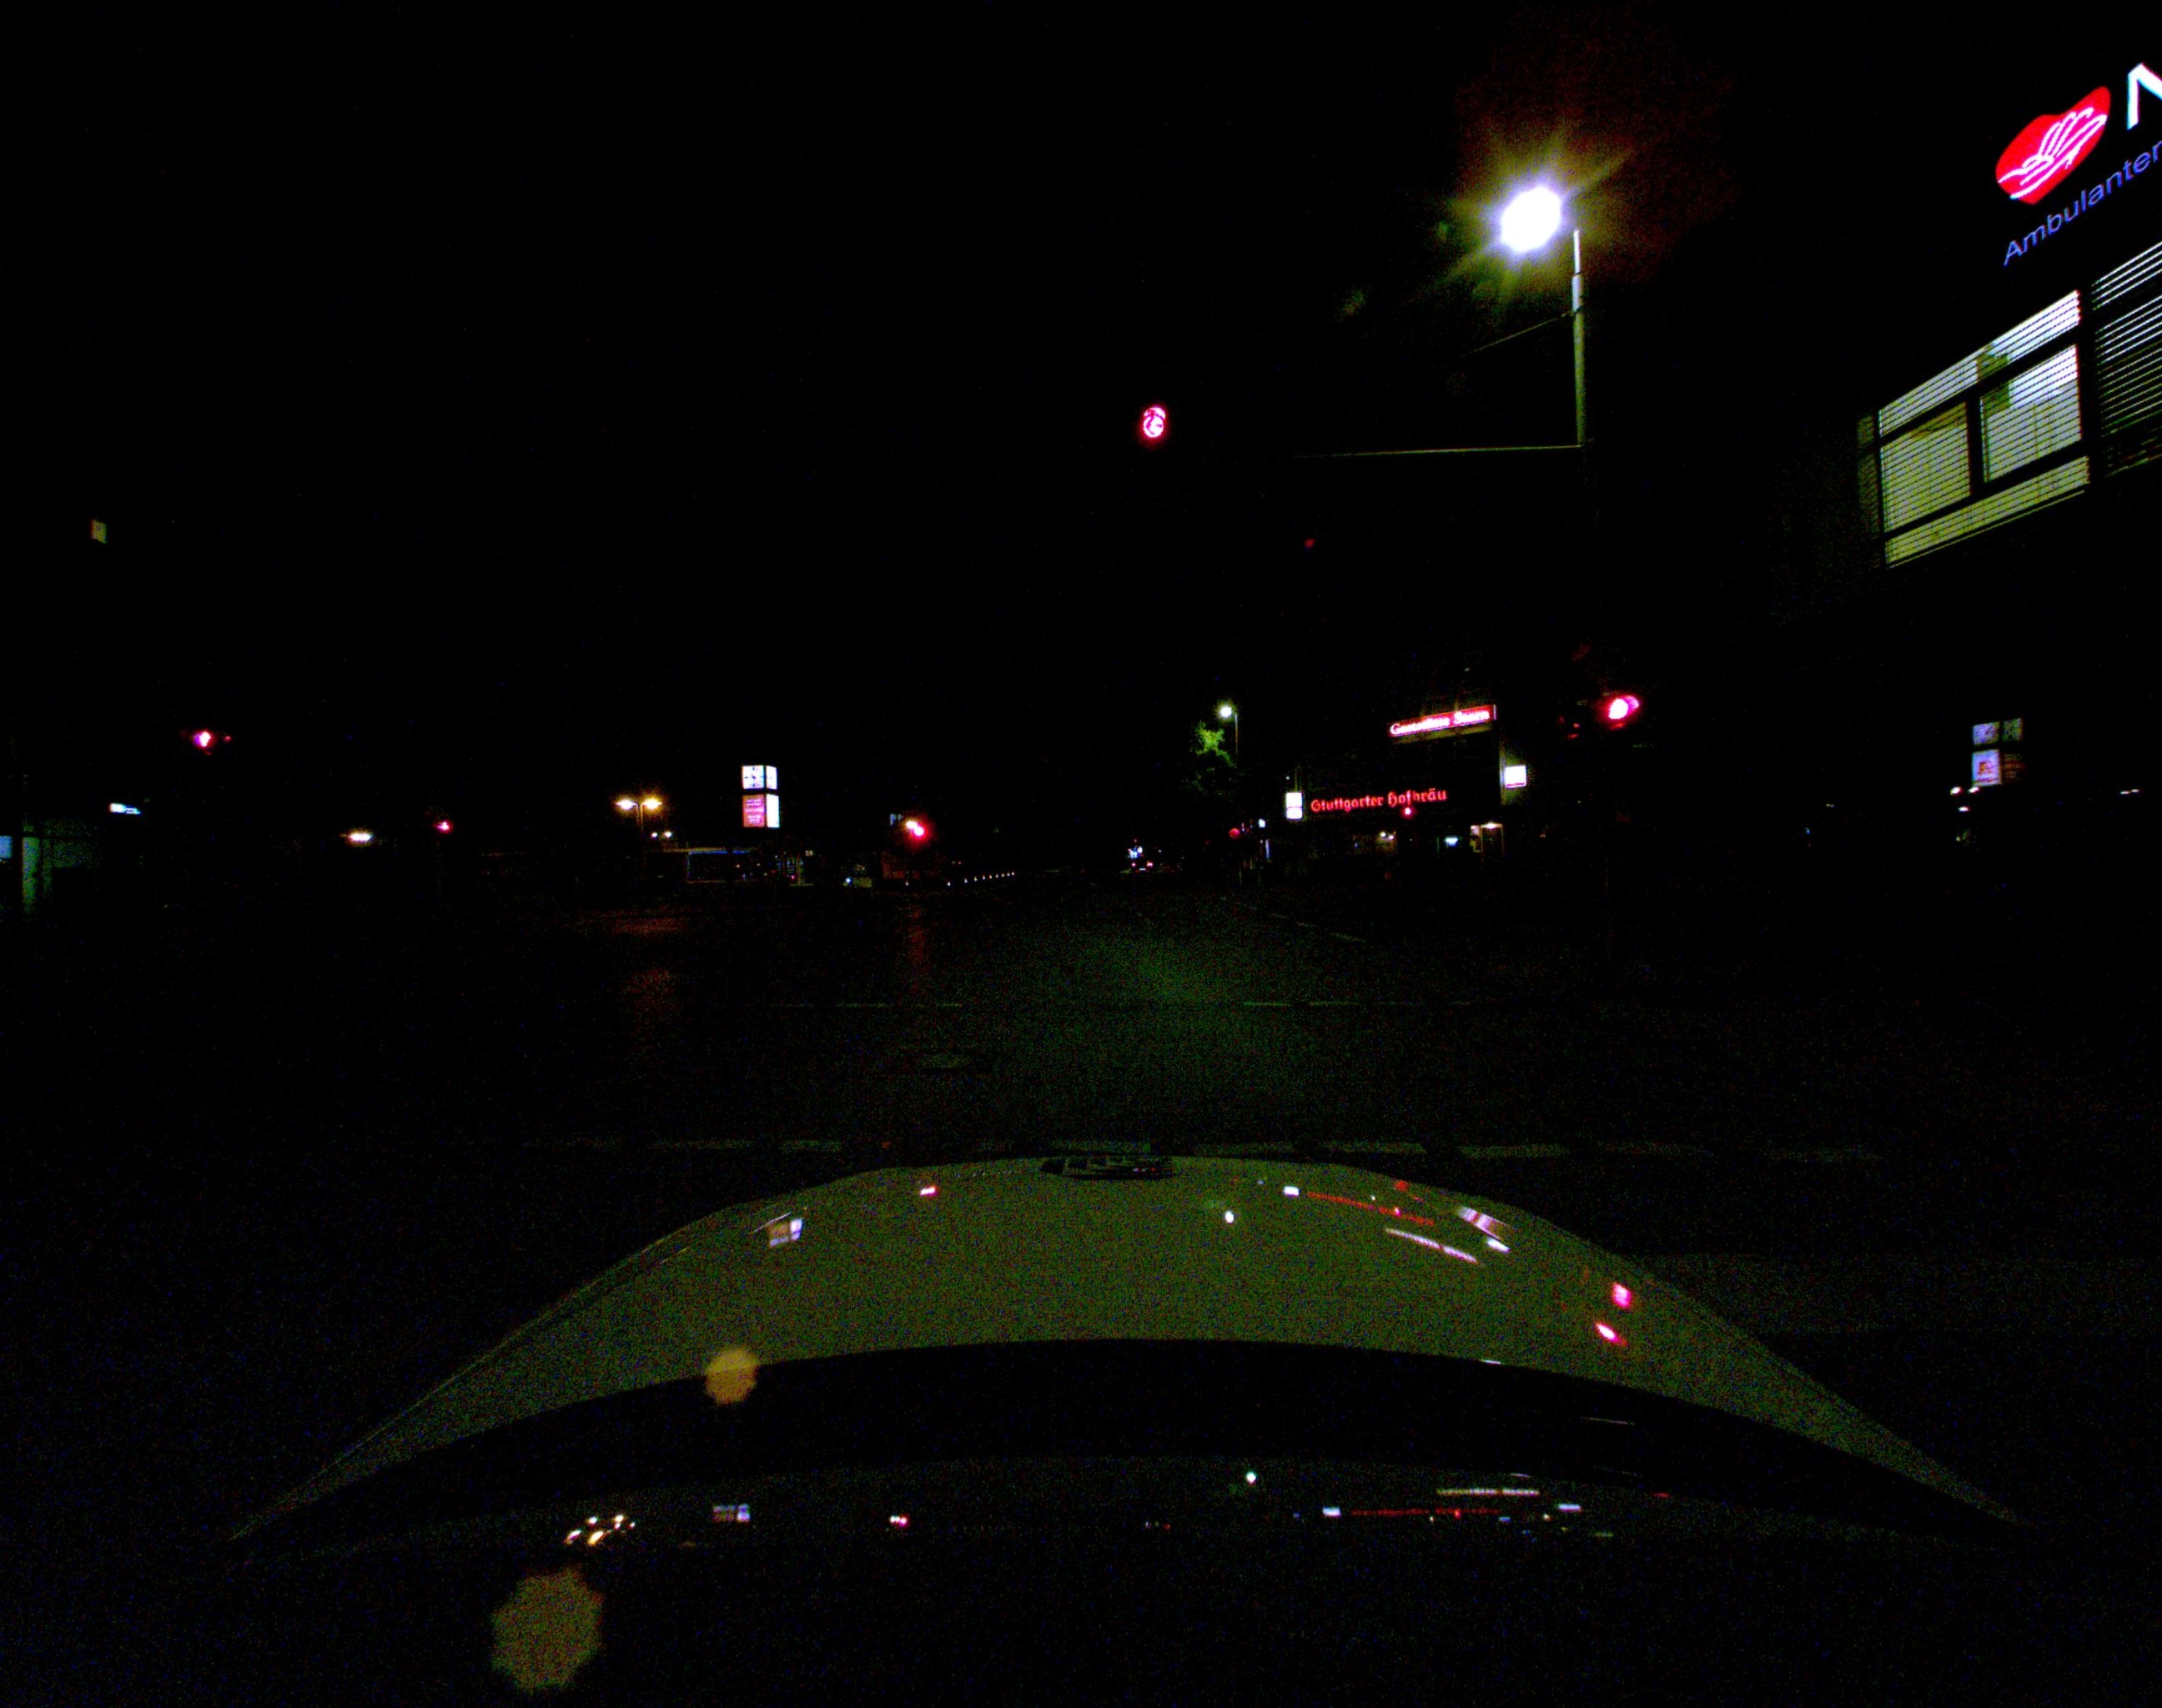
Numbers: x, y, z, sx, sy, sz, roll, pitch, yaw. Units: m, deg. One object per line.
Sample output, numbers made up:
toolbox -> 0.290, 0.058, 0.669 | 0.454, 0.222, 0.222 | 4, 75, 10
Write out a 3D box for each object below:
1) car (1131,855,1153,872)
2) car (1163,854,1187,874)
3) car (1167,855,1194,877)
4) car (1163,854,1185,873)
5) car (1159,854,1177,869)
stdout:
car -> 5.417, 0.816, 71.822 | 1.864, 1.454, 4.323 | 0, -1, 6
car -> 7.885, 0.831, 68.776 | 1.868, 1.615, 4.005 | -2, -1, 5
car -> 7.701, 0.923, 63.490 | 1.868, 1.615, 4.005 | -2, -1, 5
car -> 8.681, 0.877, 76.433 | 1.868, 1.729, 4.005 | -2, -1, 5
car -> 10.052, 0.894, 94.447 | 1.868, 1.683, 4.005 | -2, -1, 5
